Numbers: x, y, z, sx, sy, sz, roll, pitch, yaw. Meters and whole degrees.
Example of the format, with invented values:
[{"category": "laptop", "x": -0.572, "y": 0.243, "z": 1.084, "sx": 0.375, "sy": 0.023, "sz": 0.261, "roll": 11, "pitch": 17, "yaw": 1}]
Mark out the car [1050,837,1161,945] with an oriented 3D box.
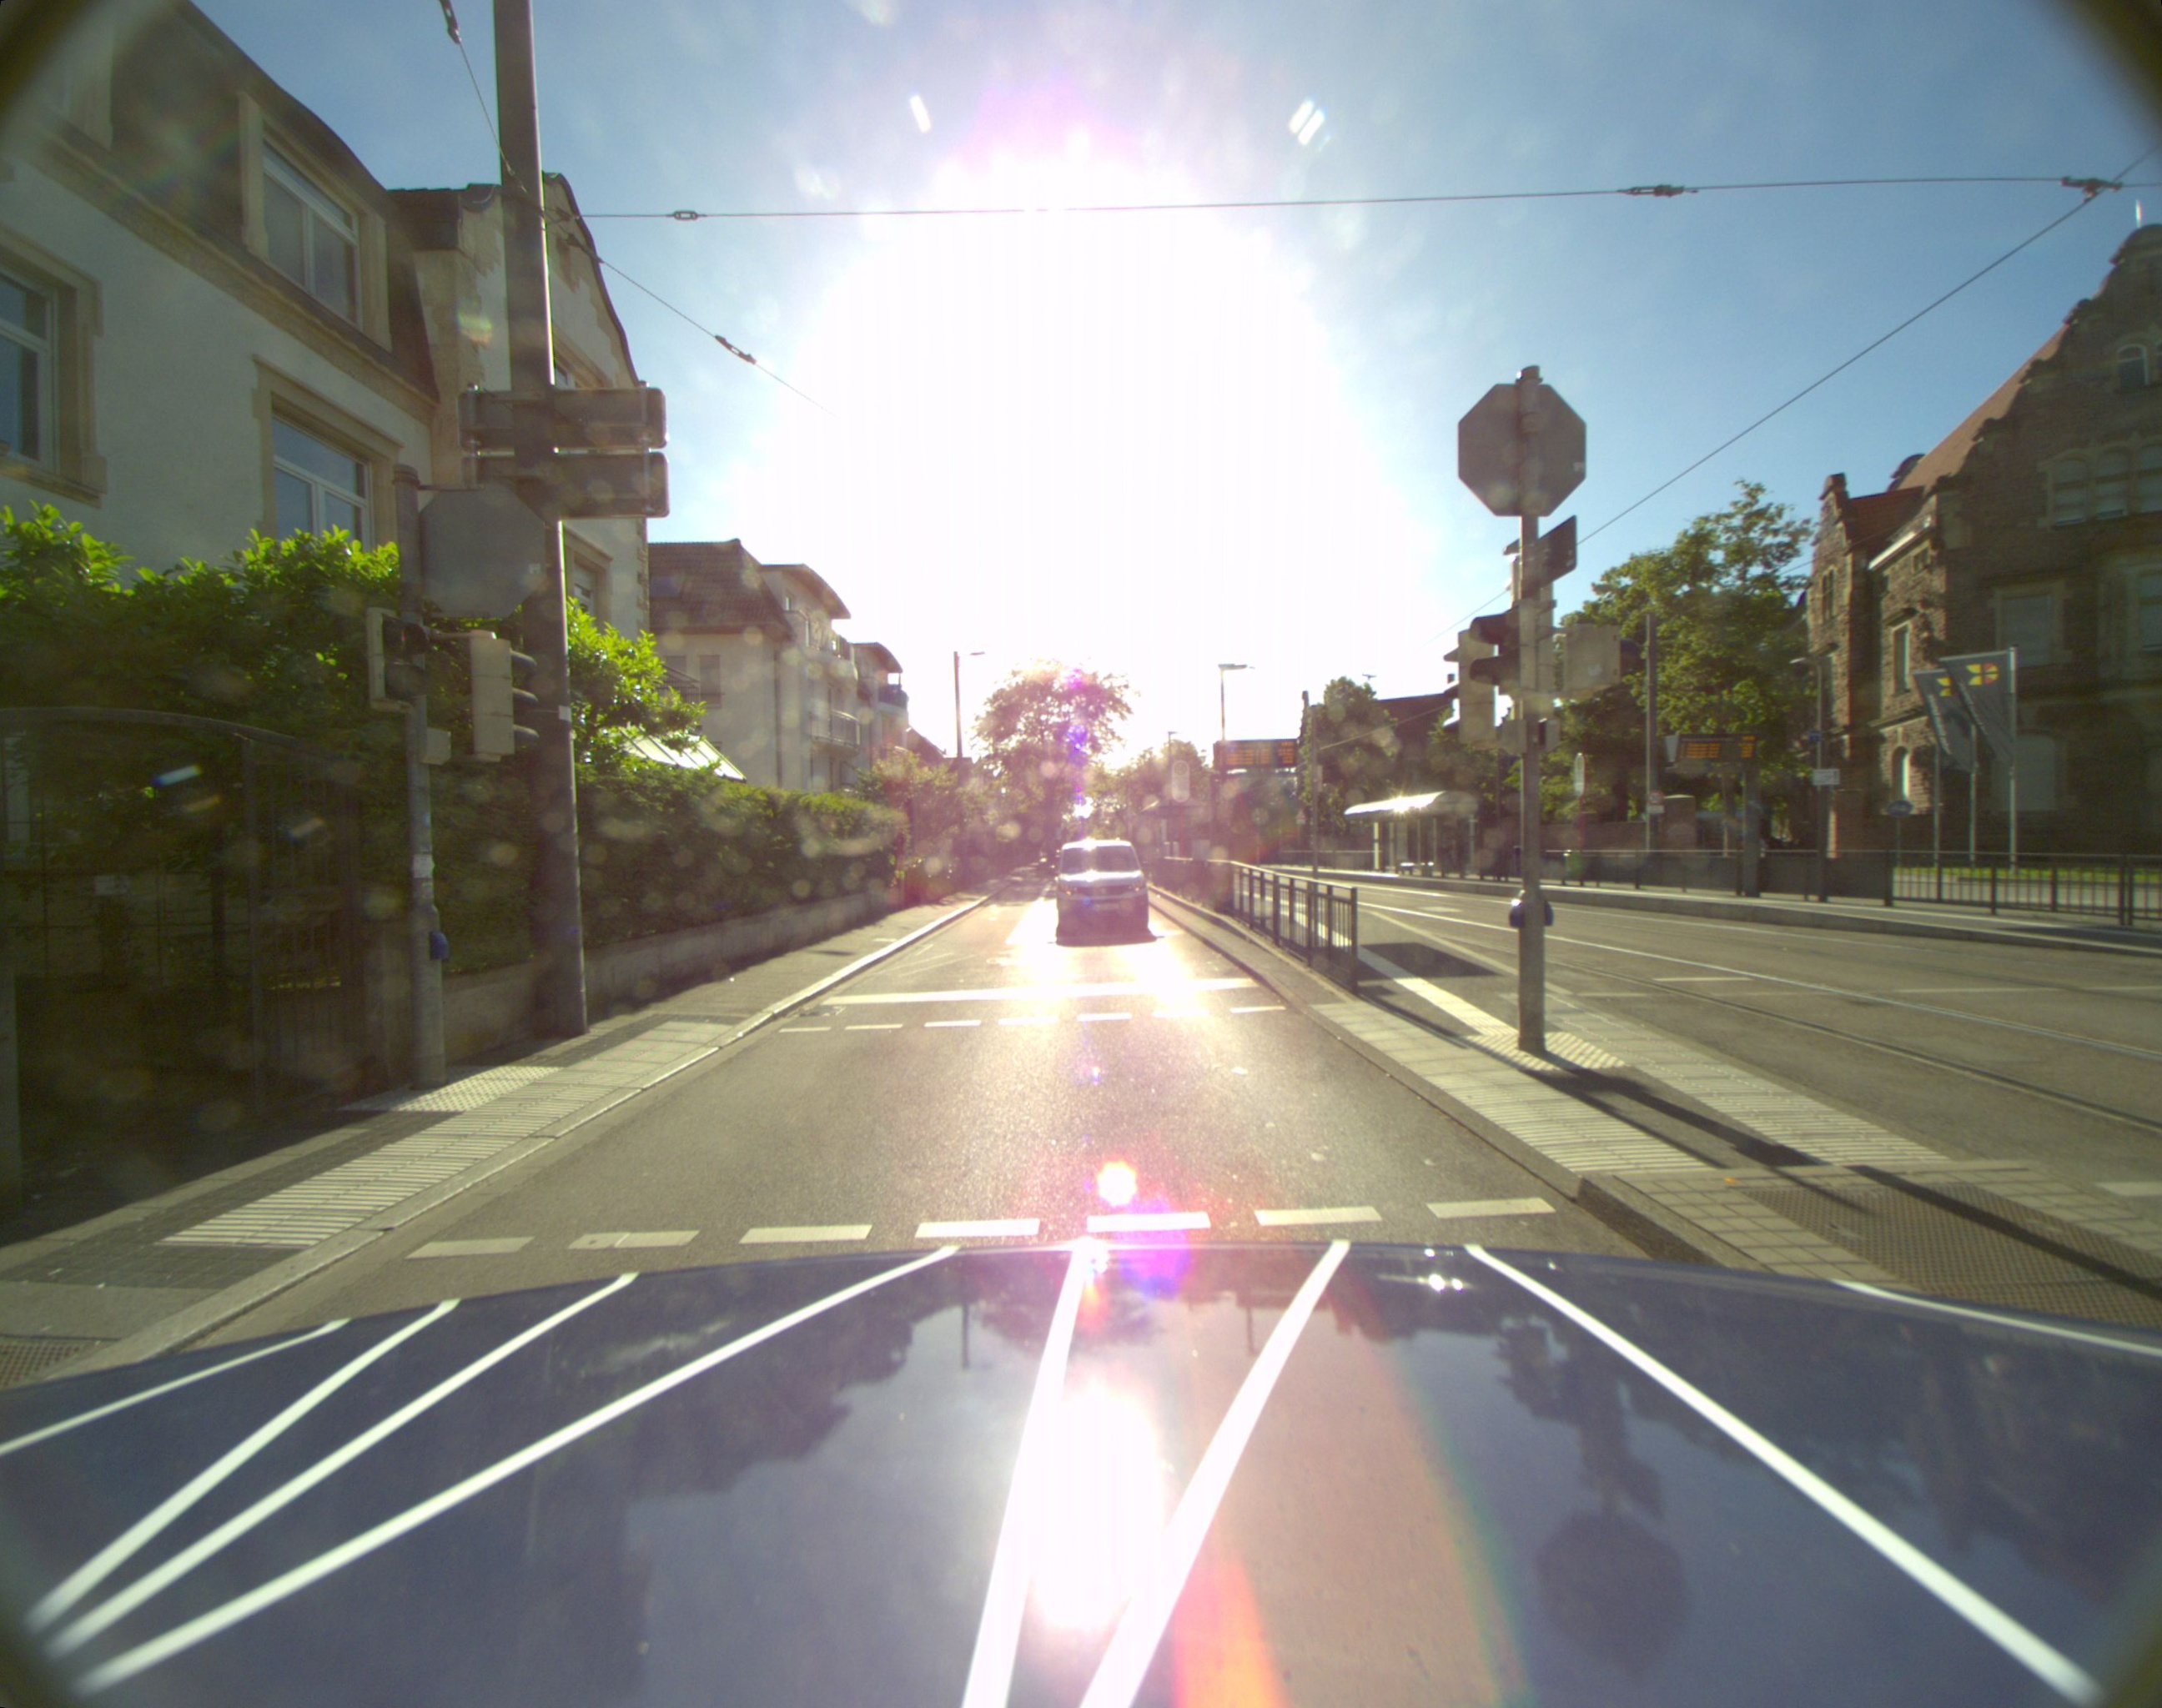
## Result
[{"category": "car", "x": 0.370, "y": 0.597, "z": 15.700, "sx": 1.857, "sy": 1.788, "sz": 4.695, "roll": -3, "pitch": 1, "yaw": -2}]
